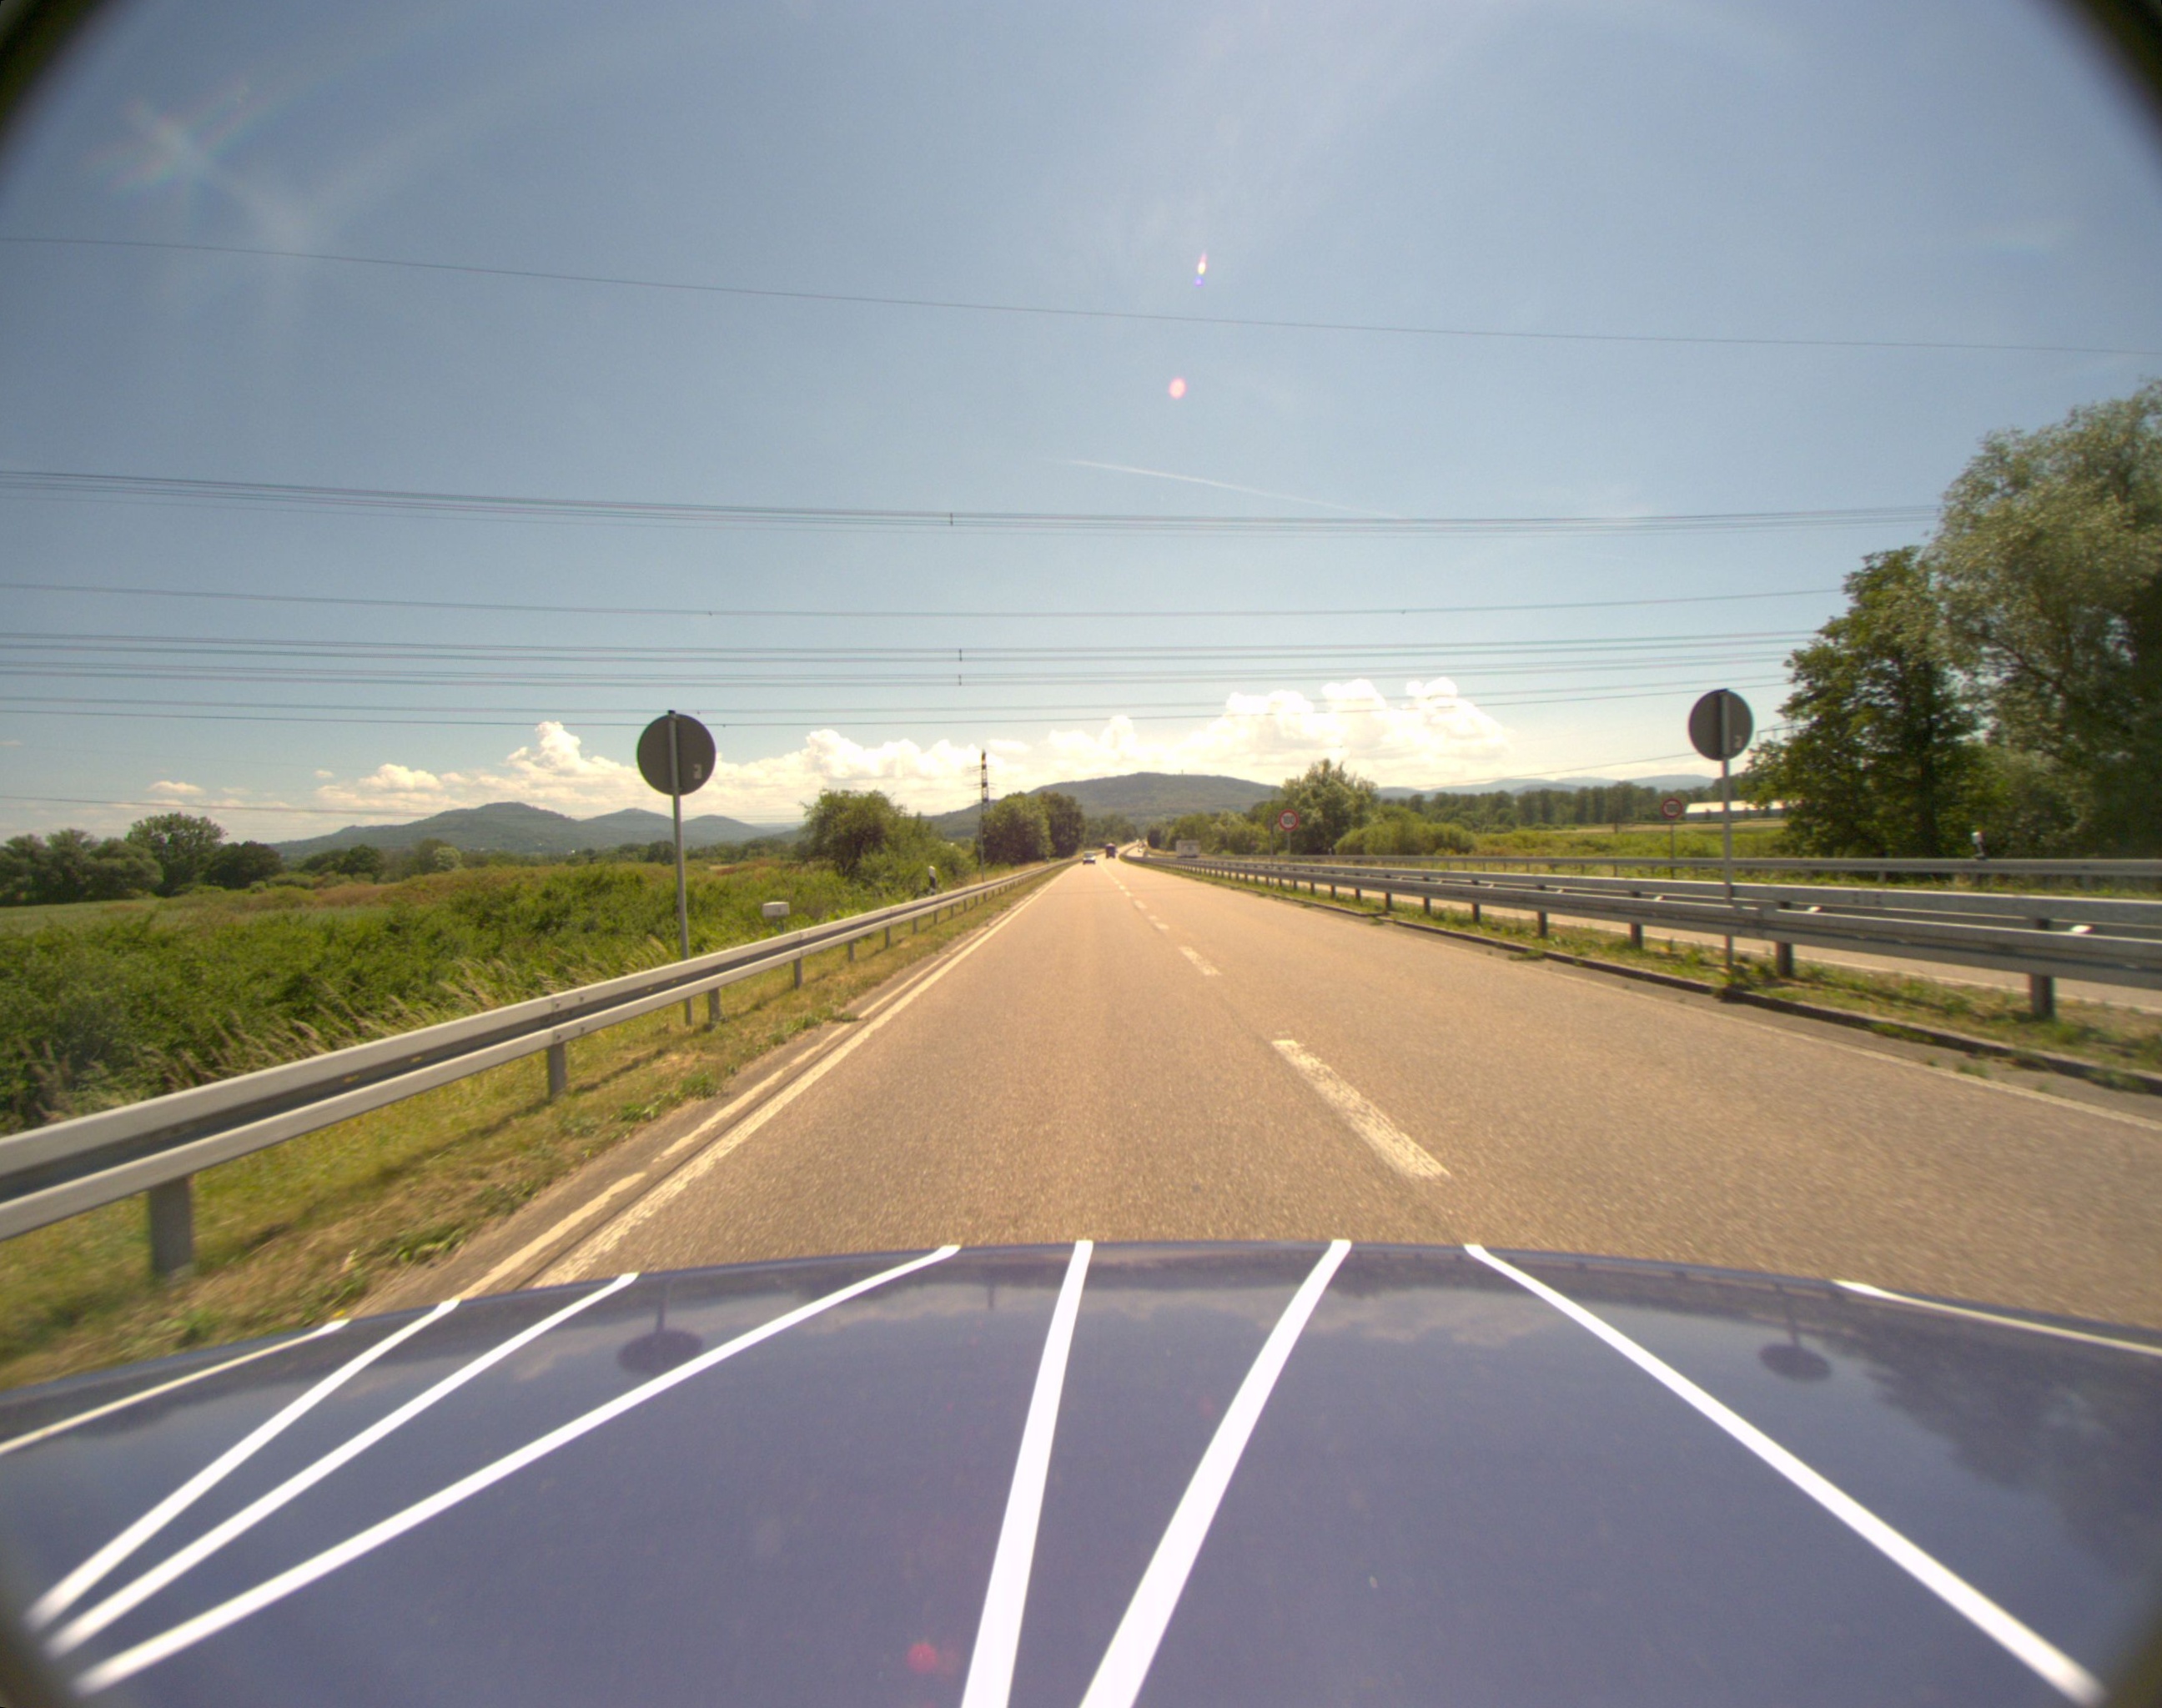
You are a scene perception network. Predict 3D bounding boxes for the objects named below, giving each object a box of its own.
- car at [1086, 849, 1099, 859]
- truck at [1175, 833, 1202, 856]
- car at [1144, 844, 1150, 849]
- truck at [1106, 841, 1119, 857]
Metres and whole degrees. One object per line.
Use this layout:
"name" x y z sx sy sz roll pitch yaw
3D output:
"car" 1.667 0.018 108.944 1.577 1.387 3.486 -2 1 5
"truck" 15.651 -1.363 111.128 2.725 3.174 8.404 -2 1 1
"car" 19.591 -2.122 224.816 1.536 1.441 3.701 -2 0 1
"truck" 8.494 -1.403 201.419 2.826 4.143 9.950 -2 1 5
